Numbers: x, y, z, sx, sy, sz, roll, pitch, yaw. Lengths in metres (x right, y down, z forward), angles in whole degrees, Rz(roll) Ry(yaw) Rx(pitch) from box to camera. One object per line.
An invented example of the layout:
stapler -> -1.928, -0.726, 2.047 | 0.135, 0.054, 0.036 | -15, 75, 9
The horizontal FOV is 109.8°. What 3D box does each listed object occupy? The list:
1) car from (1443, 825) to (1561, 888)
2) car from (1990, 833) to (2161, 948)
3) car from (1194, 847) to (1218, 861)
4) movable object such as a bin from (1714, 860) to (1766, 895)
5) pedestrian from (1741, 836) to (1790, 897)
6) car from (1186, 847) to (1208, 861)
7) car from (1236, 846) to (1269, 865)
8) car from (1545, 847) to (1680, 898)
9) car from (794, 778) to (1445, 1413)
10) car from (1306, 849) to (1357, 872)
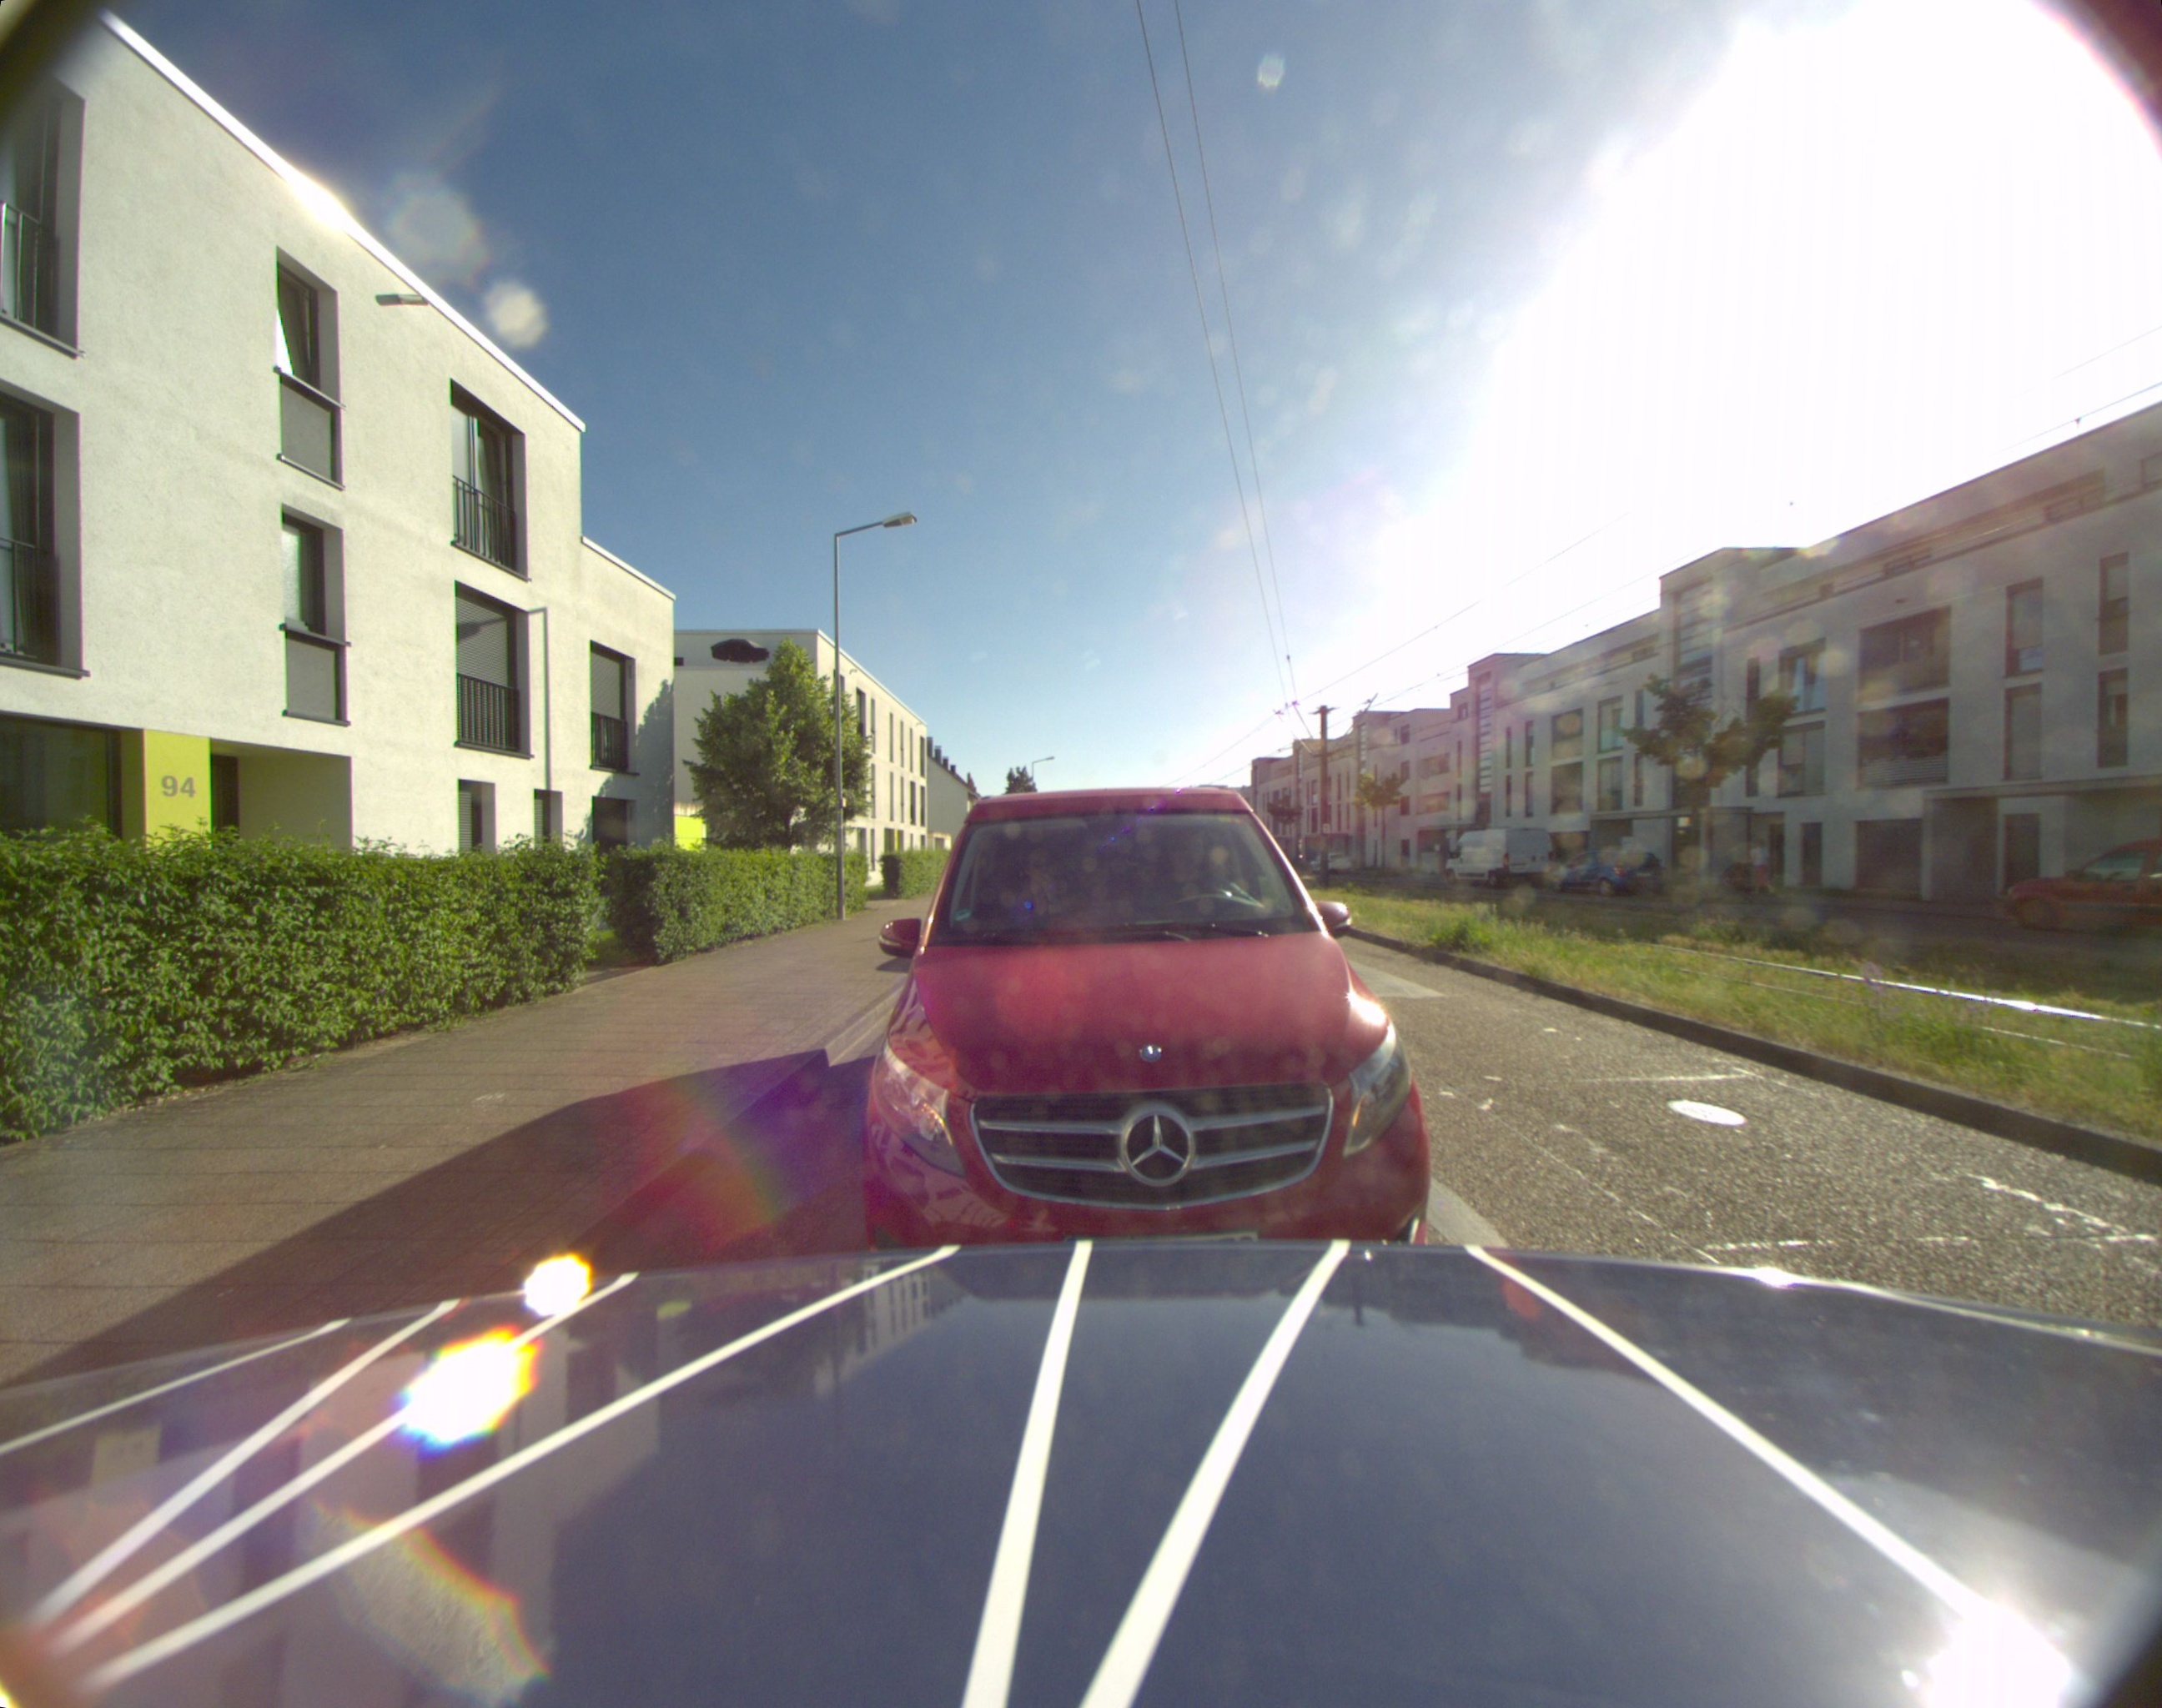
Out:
car -> 18.164, 0.080, 33.165 | 2.225, 2.458, 5.195 | -2, 1, 0
car -> 18.614, 0.584, 12.802 | 1.998, 1.817, 3.895 | -2, 1, 3
car -> 15.465, -0.032, 93.899 | 1.923, 1.671, 4.282 | -2, 1, -4
movable object such as a bin -> 20.945, 0.741, 24.173 | 0.729, 1.048, 1.083 | -2, 1, 1
pedestrian -> 20.906, 0.373, 23.223 | 0.776, 1.812, 0.785 | -2, 1, 1
car -> 15.178, -0.054, 99.651 | 1.923, 1.671, 4.282 | -2, 1, -4
car -> 16.711, 0.138, 74.348 | 1.923, 1.671, 4.282 | -2, 1, -4
car -> 18.372, 0.582, 26.493 | 1.999, 1.536, 3.835 | -2, 1, 0
car -> 0.150, 0.705, 4.518 | 1.874, 1.843, 4.506 | -2, 1, 1
car -> 17.628, 0.420, 53.734 | 1.923, 1.497, 4.282 | -2, 1, -4
